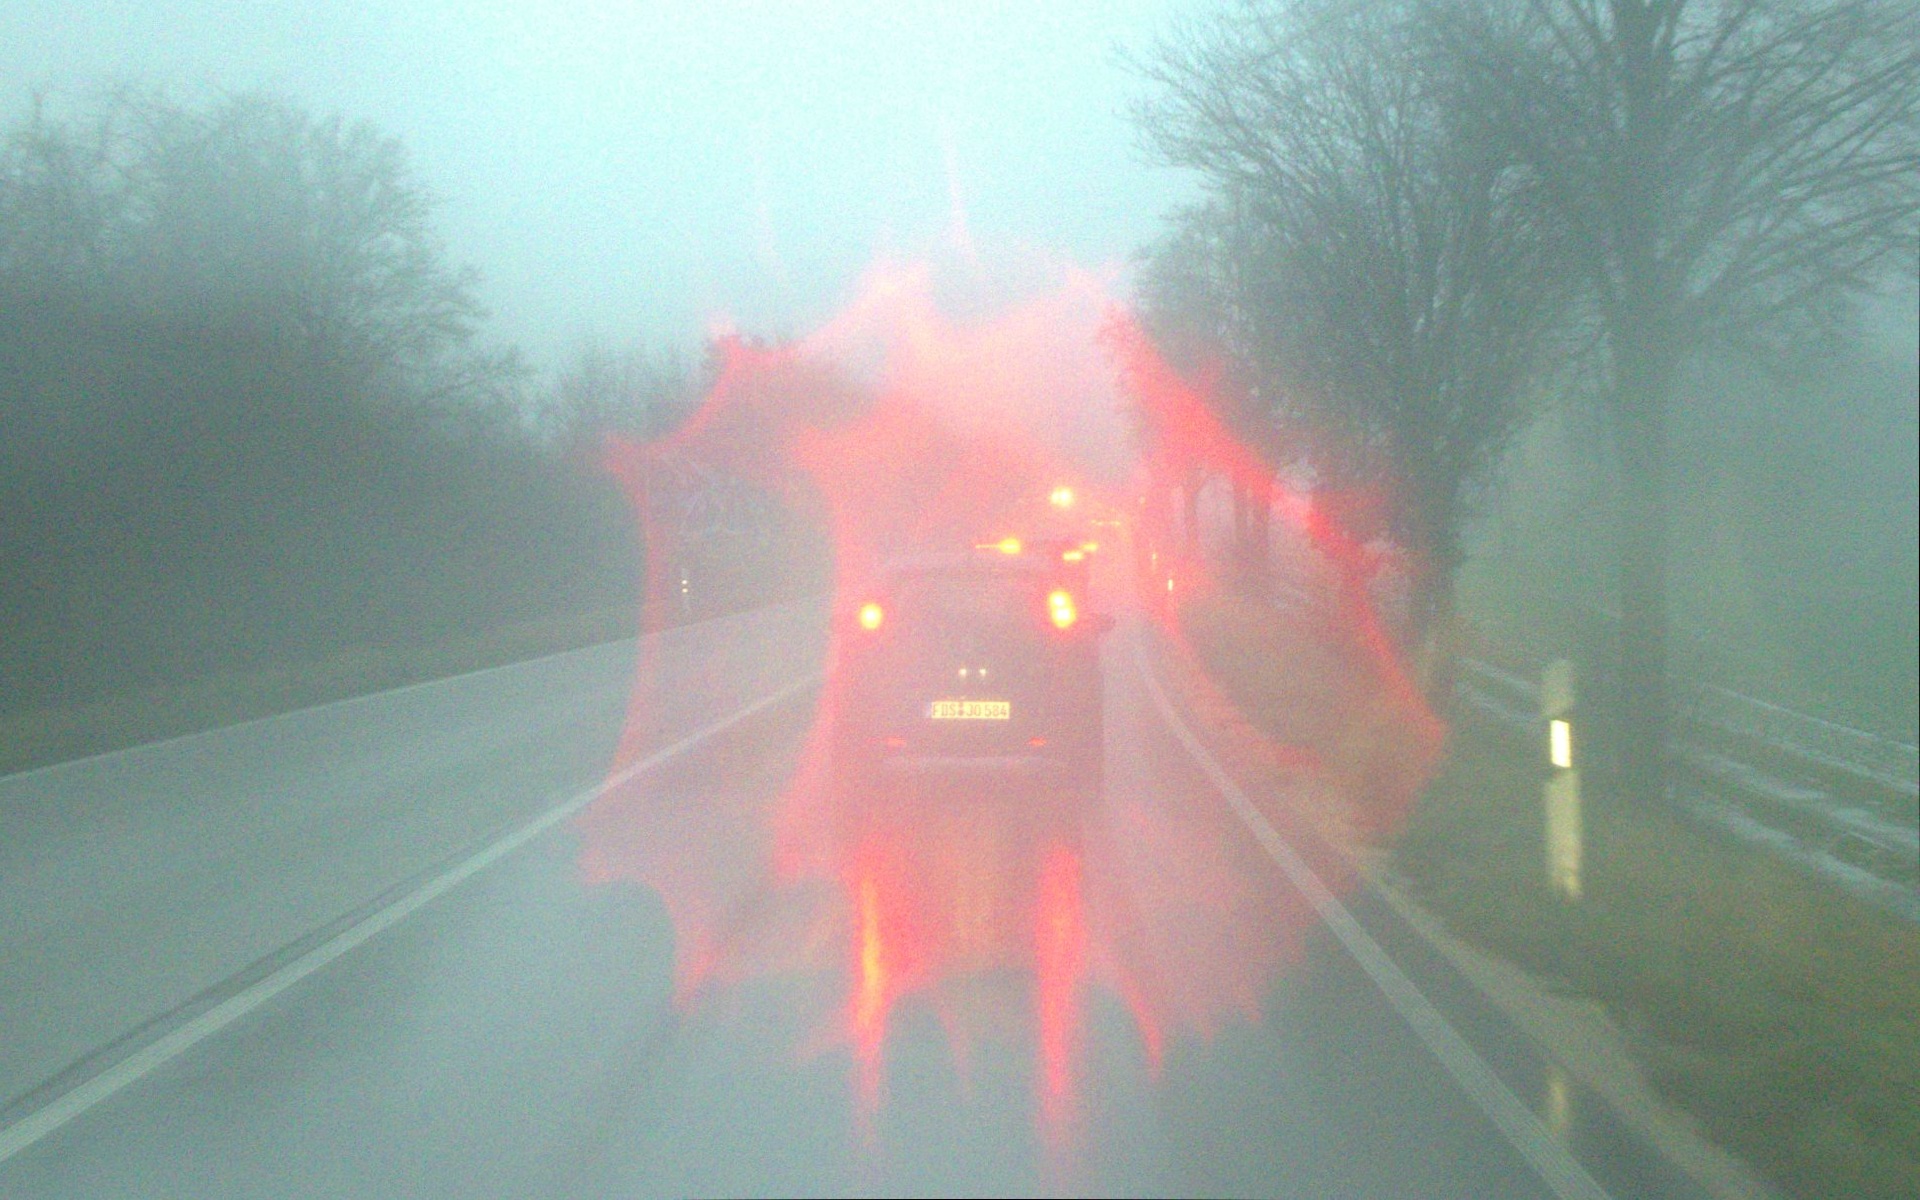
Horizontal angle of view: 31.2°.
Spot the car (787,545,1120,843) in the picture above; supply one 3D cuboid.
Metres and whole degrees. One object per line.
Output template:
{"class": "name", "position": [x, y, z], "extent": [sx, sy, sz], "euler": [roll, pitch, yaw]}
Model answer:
{"class": "car", "position": [0.050, 0.543, 22.941], "extent": [1.994, 1.746, 4.000], "euler": [0, 2, 3]}

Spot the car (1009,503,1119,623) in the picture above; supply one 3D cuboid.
{"class": "car", "position": [2.293, -0.843, 74.677], "extent": [1.994, 2.006, 4.001], "euler": [5, 7, 4]}
